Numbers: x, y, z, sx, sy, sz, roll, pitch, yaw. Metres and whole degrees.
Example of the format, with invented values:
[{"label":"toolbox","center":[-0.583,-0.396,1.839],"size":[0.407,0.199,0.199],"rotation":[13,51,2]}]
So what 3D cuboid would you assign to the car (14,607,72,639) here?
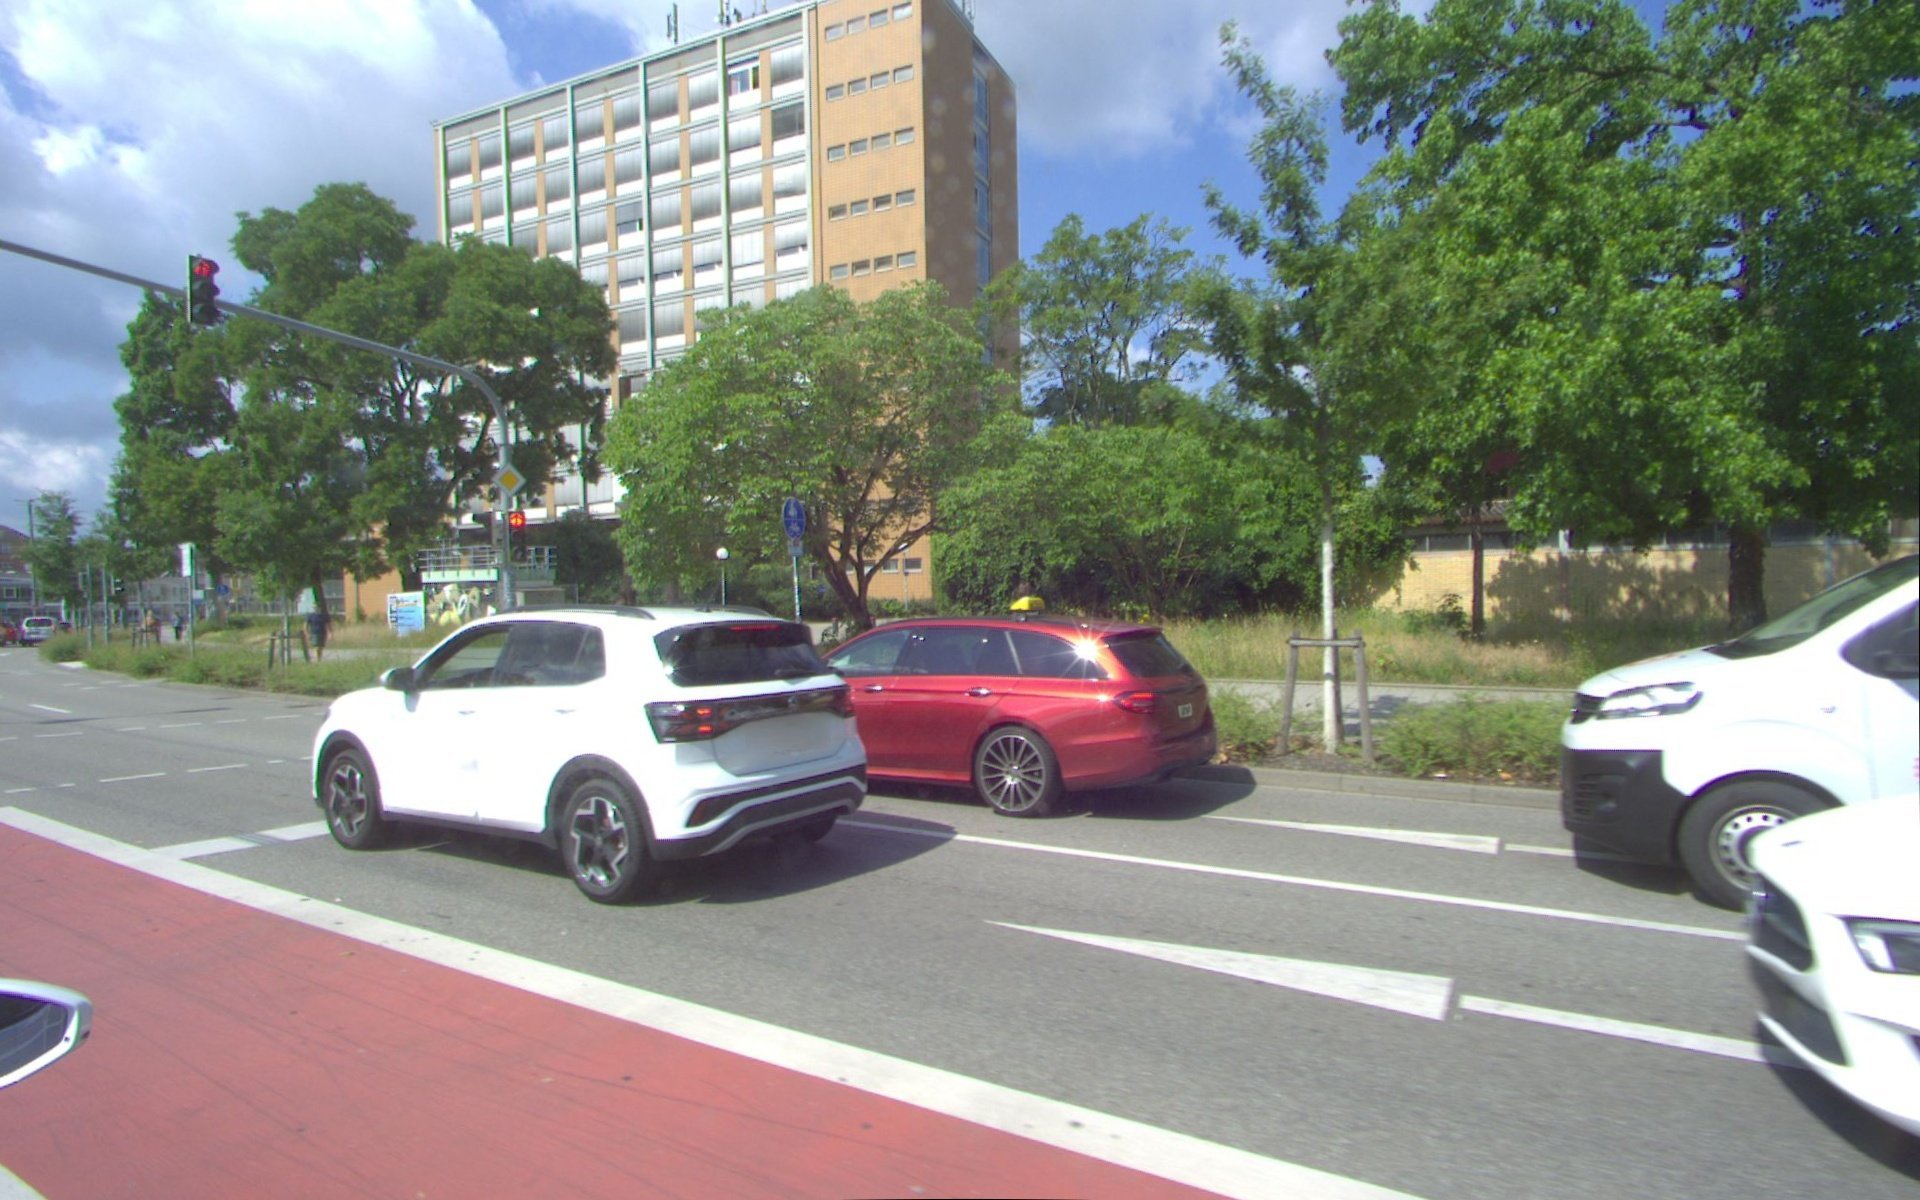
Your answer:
[{"label":"car","center":[-56.357,1.367,61.631],"size":[1.973,1.819,3.974],"rotation":[-2,1,-34]}]

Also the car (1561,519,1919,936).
[{"label":"car","center":[5.695,0.565,4.850],"size":[4.754,1.895,1.938],"rotation":[0,1,31]}]

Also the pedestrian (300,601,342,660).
[{"label":"pedestrian","center":[-16.841,0.788,26.378],"size":[0.544,1.528,0.767],"rotation":[0,1,36]}]

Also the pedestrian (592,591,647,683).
[{"label":"pedestrian","center":[-6.674,0.701,19.634],"size":[0.669,1.759,0.740],"rotation":[0,1,34]}]

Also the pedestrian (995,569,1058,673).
[{"label":"pedestrian","center":[1.119,0.340,16.681],"size":[0.710,1.660,0.866],"rotation":[0,1,32]}]

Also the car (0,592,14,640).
[{"label":"car","center":[-58.139,0.965,59.467],"size":[2.109,2.818,4.606],"rotation":[-2,1,-35]}]

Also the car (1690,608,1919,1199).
[{"label":"car","center":[4.351,0.750,2.151],"size":[4.321,1.443,1.900],"rotation":[0,1,31]}]

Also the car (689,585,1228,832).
[{"label":"car","center":[-0.120,0.749,8.581],"size":[4.397,1.663,1.678],"rotation":[-1,0,31]}]

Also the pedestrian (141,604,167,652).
[{"label":"pedestrian","center":[-30.230,1.036,37.556],"size":[0.571,1.757,0.657],"rotation":[0,1,40]}]

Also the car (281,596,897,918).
[{"label":"car","center":[-2.545,0.800,6.660],"size":[3.952,1.559,1.788],"rotation":[-1,-1,31]}]

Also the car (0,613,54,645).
[{"label":"car","center":[-62.564,1.903,67.199],"size":[1.972,1.965,4.606],"rotation":[-2,1,-35]}]

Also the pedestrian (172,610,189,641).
[{"label":"pedestrian","center":[-46.263,1.517,59.421],"size":[0.781,1.808,0.661],"rotation":[-2,1,-38]}]
